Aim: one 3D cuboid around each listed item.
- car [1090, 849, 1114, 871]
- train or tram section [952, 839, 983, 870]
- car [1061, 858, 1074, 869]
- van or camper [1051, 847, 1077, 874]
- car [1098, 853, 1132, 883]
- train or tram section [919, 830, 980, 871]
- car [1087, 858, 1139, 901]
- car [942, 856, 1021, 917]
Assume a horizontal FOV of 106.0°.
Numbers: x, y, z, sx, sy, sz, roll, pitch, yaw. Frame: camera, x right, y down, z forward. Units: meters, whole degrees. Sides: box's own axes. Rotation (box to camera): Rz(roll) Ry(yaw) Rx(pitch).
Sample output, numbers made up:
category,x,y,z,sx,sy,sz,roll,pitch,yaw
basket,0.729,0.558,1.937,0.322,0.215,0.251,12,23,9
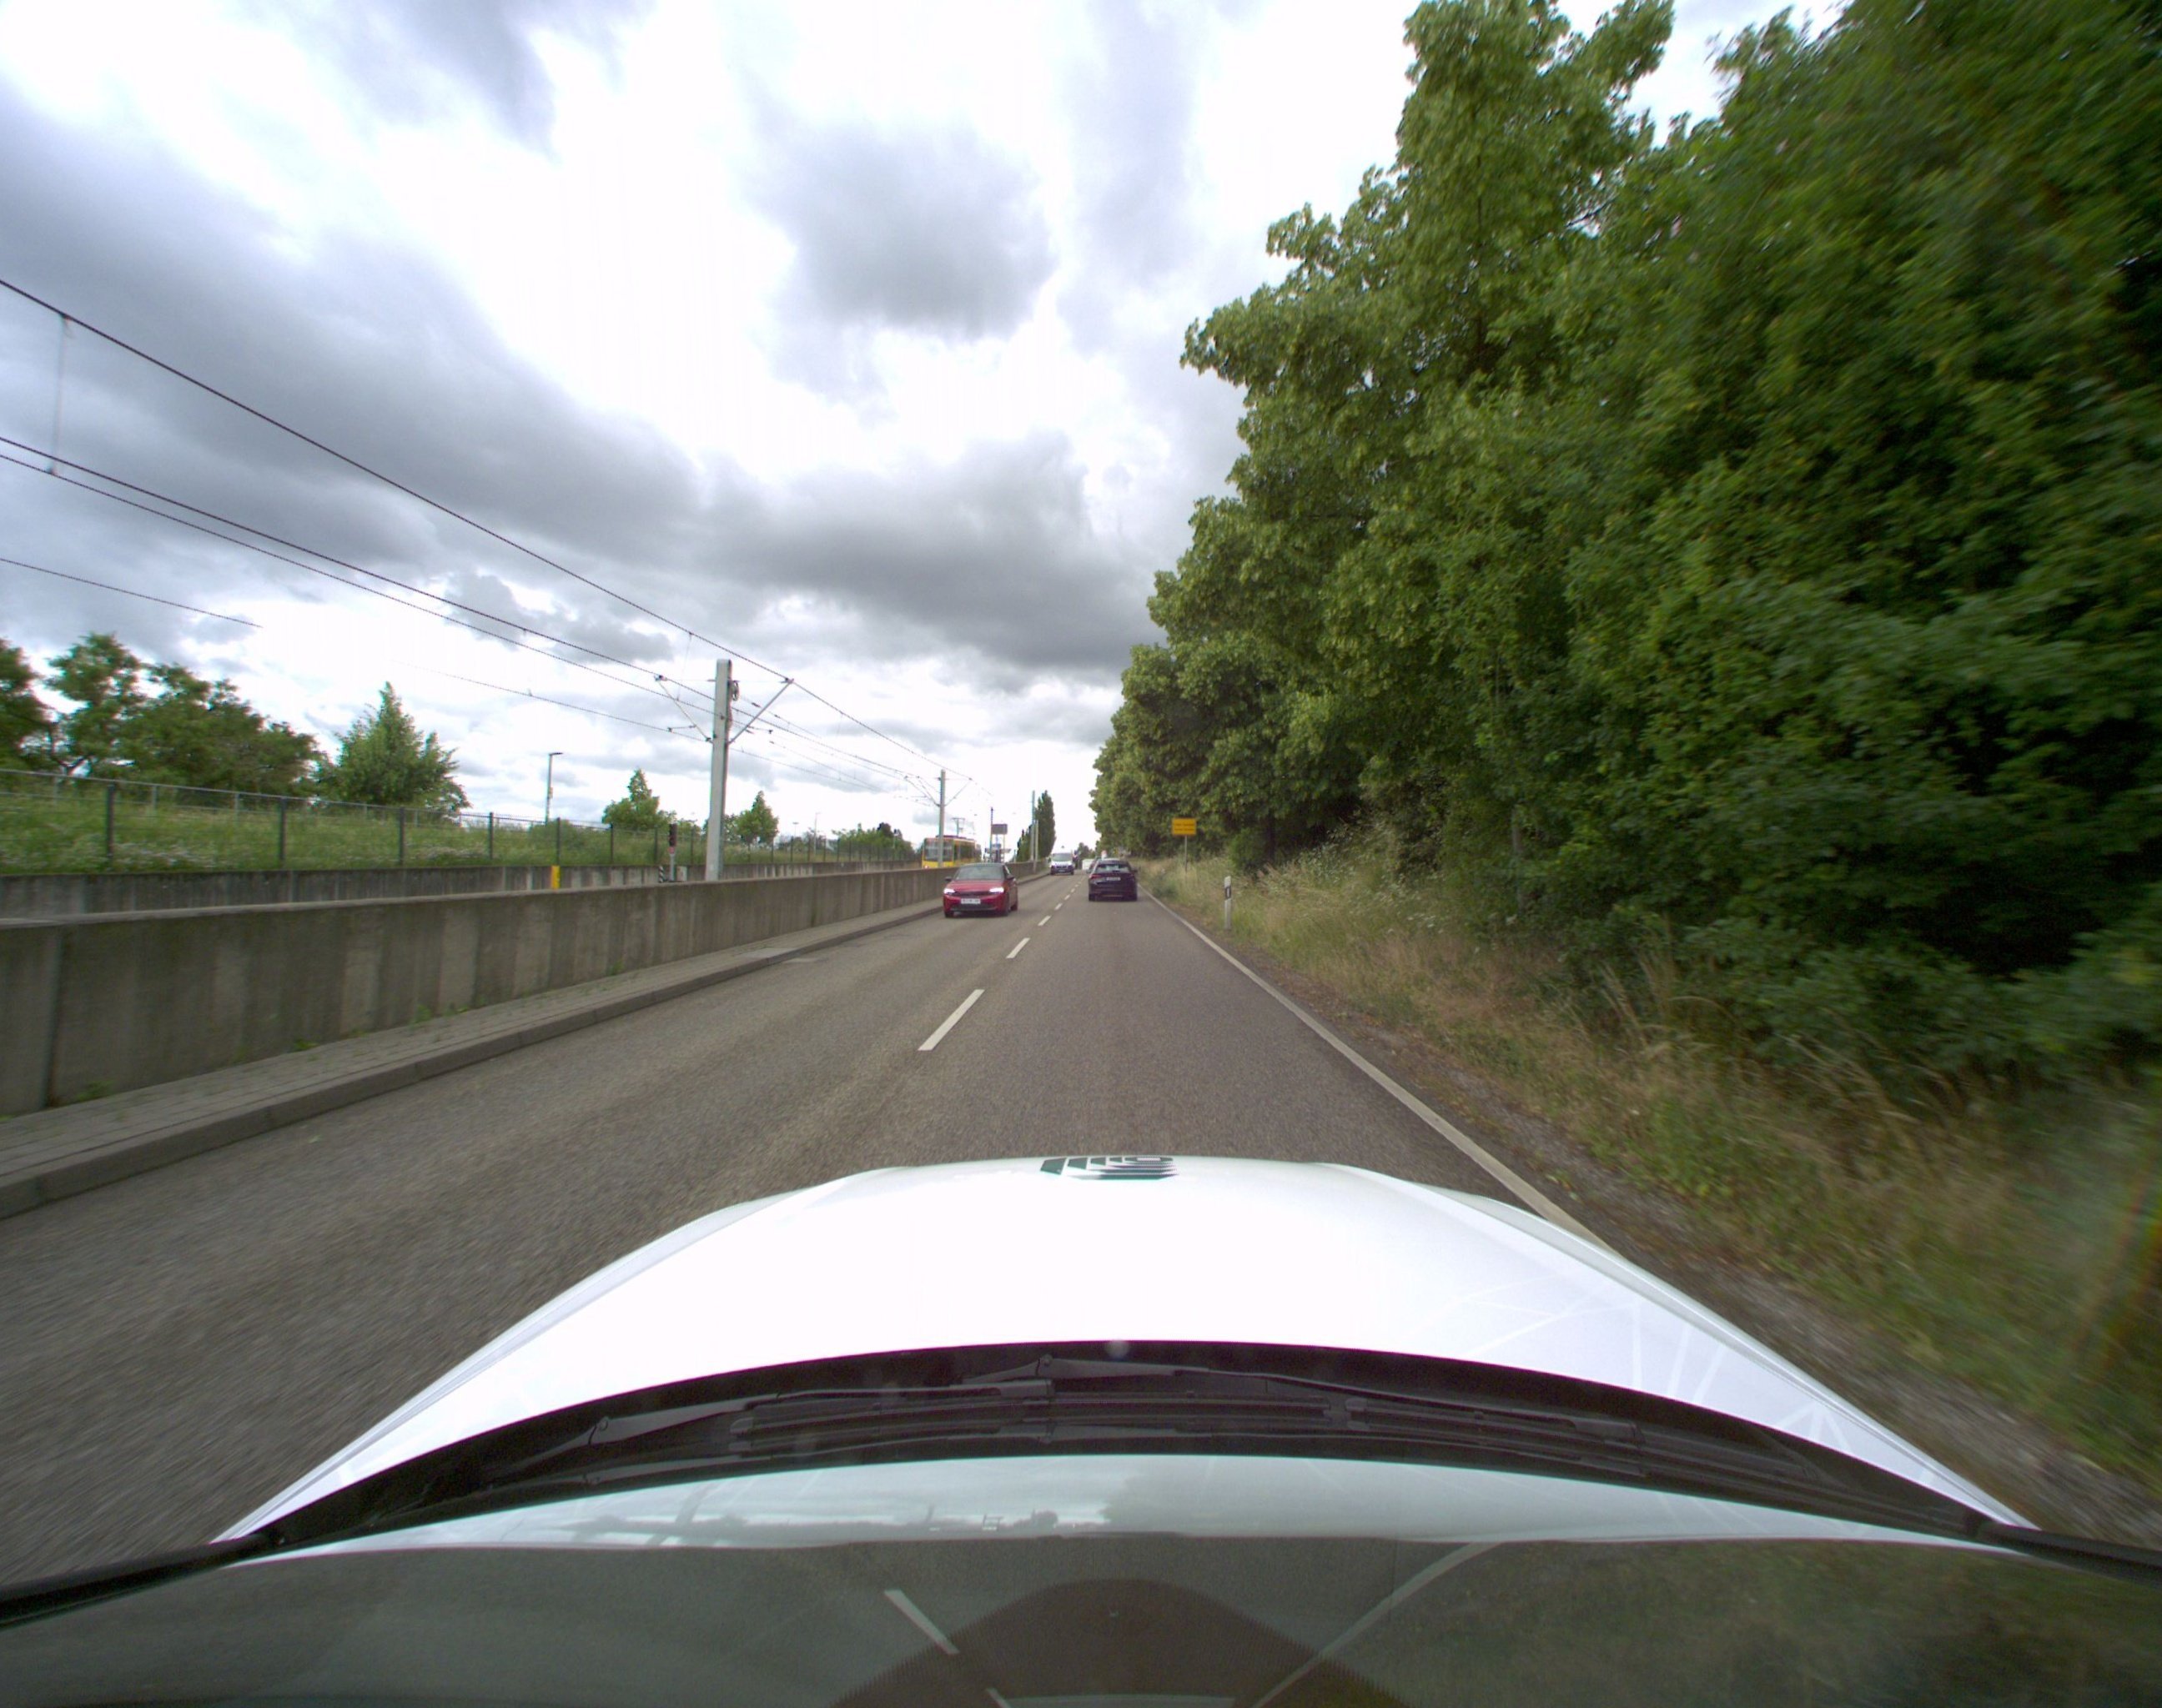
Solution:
category,x,y,z,sx,sy,sz,roll,pitch,yaw
car,1.837,0.544,70.217,1.986,1.740,4.001,-1,-1,1
train or tram section,-12.533,0.253,91.291,2.800,3.077,19.059,-1,-1,-6
car,-1.993,1.397,118.773,1.727,1.572,3.997,-2,0,-2
van or camper,-1.550,0.571,75.336,2.075,2.396,6.138,-1,0,1
car,2.051,0.814,50.086,1.986,1.753,4.001,-1,0,1
train or tram section,-11.387,-0.106,72.534,2.804,3.117,18.901,-1,-1,-1
car,1.166,0.906,30.280,1.775,1.468,4.001,-1,0,1
car,-2.737,0.860,23.135,1.657,1.545,3.953,-1,0,1
